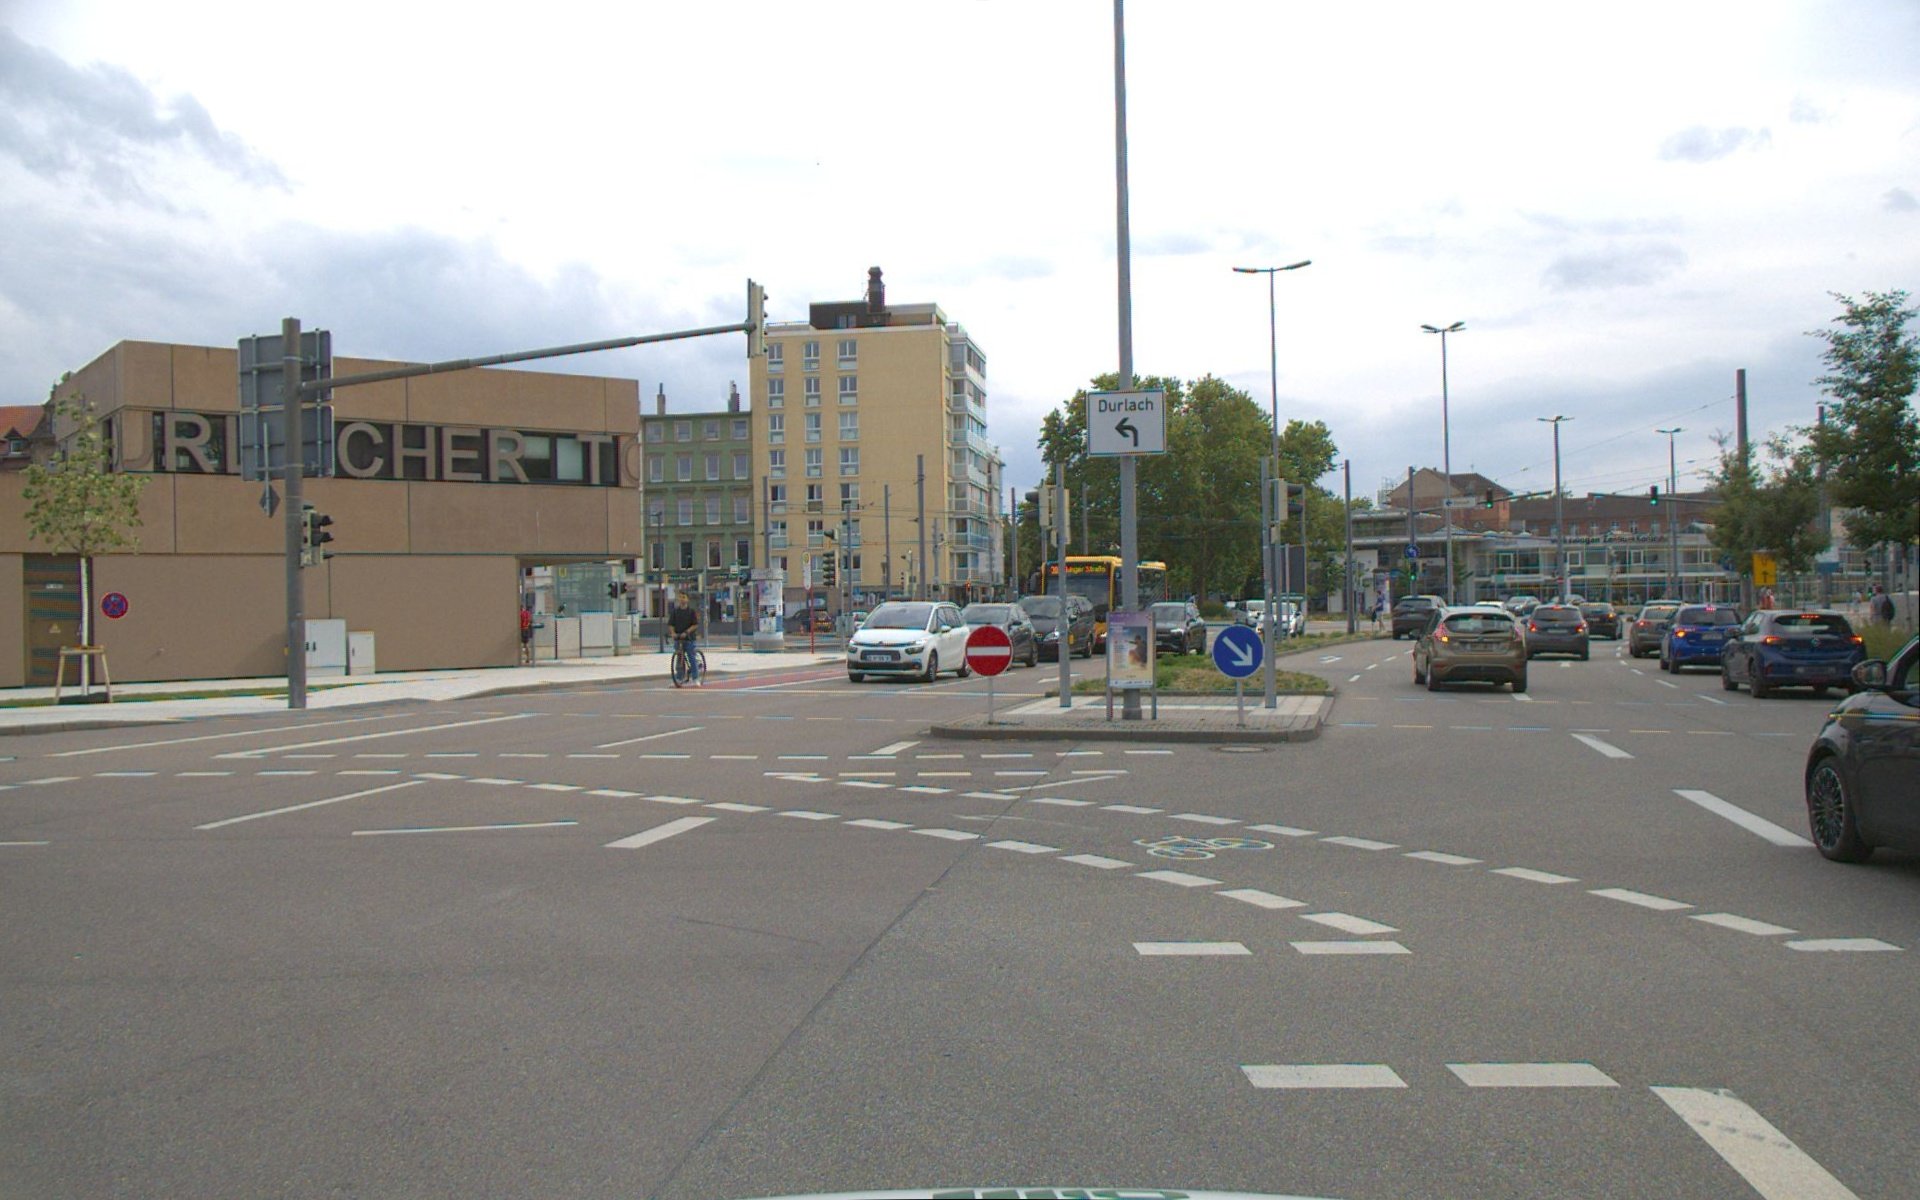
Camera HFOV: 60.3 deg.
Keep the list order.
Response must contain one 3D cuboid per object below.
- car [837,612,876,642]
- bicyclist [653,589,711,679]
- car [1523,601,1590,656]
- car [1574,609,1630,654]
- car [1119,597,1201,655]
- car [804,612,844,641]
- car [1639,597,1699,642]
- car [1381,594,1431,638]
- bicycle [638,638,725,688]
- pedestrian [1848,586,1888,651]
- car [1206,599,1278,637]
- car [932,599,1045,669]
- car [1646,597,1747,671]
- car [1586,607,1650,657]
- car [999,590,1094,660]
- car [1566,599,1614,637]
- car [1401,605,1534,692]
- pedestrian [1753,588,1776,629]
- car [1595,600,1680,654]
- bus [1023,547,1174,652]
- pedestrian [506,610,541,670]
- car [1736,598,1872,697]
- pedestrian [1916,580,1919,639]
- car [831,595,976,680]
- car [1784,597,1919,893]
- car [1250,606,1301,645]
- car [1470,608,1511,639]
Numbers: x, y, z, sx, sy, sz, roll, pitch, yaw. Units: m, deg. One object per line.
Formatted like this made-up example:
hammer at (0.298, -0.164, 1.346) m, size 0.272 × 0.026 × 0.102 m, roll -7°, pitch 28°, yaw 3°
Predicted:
car at (-7.391, 1.919, 118.803) m, size 1.951 × 2.049 × 4.003 m, roll 0°, pitch -1°, yaw 9°
bicyclist at (-5.300, 0.642, 31.573) m, size 0.848 × 1.698 × 0.882 m, roll 0°, pitch -1°, yaw 9°
car at (16.492, 0.778, 45.707) m, size 1.675 × 1.445 × 4.000 m, roll 0°, pitch -1°, yaw 20°
car at (21.654, 1.038, 55.902) m, size 1.675 × 1.445 × 4.001 m, roll 0°, pitch -1°, yaw 20°
car at (6.244, 0.801, 51.309) m, size 1.951 × 1.680 × 4.515 m, roll 0°, pitch -1°, yaw 14°
car at (-9.784, 1.894, 118.921) m, size 1.951 × 2.049 × 4.003 m, roll 0°, pitch -1°, yaw 9°
car at (24.066, 0.664, 56.223) m, size 1.668 × 1.445 × 3.701 m, roll 0°, pitch -1°, yaw 20°
car at (17.198, 0.609, 63.727) m, size 1.795 × 1.643 × 3.548 m, roll 0°, pitch -1°, yaw 16°
bicycle at (-5.298, 1.186, 31.635) m, size 0.844 × 0.892 × 2.521 m, roll 0°, pitch -1°, yaw 9°
pedestrian at (23.121, 0.463, 42.130) m, size 0.762 × 1.601 × 0.811 m, roll -3°, pitch -1°, yaw 26°
car at (15.728, 1.000, 92.301) m, size 1.971 × 2.049 × 3.962 m, roll 1°, pitch -1°, yaw -28°
car at (0.798, 0.841, 42.327) m, size 1.951 × 1.680 × 4.293 m, roll 0°, pitch -1°, yaw 14°
car at (16.550, 0.742, 37.315) m, size 1.819 × 1.559 × 4.002 m, roll 0°, pitch -1°, yaw 21°
car at (20.180, 0.968, 50.835) m, size 1.675 × 1.445 × 4.001 m, roll 0°, pitch -1°, yaw 20°
car at (2.592, 0.731, 48.482) m, size 1.951 × 1.932 × 4.293 m, roll 0°, pitch -1°, yaw 14°
car at (24.921, 0.729, 65.513) m, size 1.675 × 1.445 × 4.001 m, roll 0°, pitch -1°, yaw 20°
car at (9.004, 0.828, 29.572) m, size 1.659 × 1.429 × 3.702 m, roll 1°, pitch -1°, yaw 7°
pedestrian at (32.982, 0.347, 67.830) m, size 0.762 × 1.601 × 0.811 m, roll -3°, pitch -1°, yaw 26°
car at (19.144, 0.755, 46.867) m, size 2.088 × 1.445 × 3.701 m, roll 0°, pitch -1°, yaw 20°
bus at (5.153, 0.048, 58.597) m, size 3.081 × 3.312 × 12.421 m, roll 0°, pitch -1°, yaw 15°
pedestrian at (-13.057, 1.204, 49.465) m, size 0.801 × 1.763 × 0.772 m, roll -2°, pitch -1°, yaw -31°
car at (14.051, 0.766, 27.698) m, size 1.632 × 1.534 × 3.634 m, roll 0°, pitch -1°, yaw 21°
pedestrian at (26.368, 0.231, 44.739) m, size 0.762 × 1.601 × 0.811 m, roll -3°, pitch -1°, yaw 26°
car at (-1.125, 0.767, 35.131) m, size 1.951 × 1.680 × 4.293 m, roll 0°, pitch -1°, yaw 14°
car at (5.741, 0.743, 8.465) m, size 1.631 × 1.515 × 3.443 m, roll 0°, pitch -1°, yaw 6°
car at (13.982, 1.120, 73.135) m, size 1.951 × 1.680 × 4.515 m, roll 0°, pitch -1°, yaw 14°
car at (24.982, 1.106, 77.837) m, size 1.675 × 1.445 × 4.001 m, roll 0°, pitch -1°, yaw 20°
